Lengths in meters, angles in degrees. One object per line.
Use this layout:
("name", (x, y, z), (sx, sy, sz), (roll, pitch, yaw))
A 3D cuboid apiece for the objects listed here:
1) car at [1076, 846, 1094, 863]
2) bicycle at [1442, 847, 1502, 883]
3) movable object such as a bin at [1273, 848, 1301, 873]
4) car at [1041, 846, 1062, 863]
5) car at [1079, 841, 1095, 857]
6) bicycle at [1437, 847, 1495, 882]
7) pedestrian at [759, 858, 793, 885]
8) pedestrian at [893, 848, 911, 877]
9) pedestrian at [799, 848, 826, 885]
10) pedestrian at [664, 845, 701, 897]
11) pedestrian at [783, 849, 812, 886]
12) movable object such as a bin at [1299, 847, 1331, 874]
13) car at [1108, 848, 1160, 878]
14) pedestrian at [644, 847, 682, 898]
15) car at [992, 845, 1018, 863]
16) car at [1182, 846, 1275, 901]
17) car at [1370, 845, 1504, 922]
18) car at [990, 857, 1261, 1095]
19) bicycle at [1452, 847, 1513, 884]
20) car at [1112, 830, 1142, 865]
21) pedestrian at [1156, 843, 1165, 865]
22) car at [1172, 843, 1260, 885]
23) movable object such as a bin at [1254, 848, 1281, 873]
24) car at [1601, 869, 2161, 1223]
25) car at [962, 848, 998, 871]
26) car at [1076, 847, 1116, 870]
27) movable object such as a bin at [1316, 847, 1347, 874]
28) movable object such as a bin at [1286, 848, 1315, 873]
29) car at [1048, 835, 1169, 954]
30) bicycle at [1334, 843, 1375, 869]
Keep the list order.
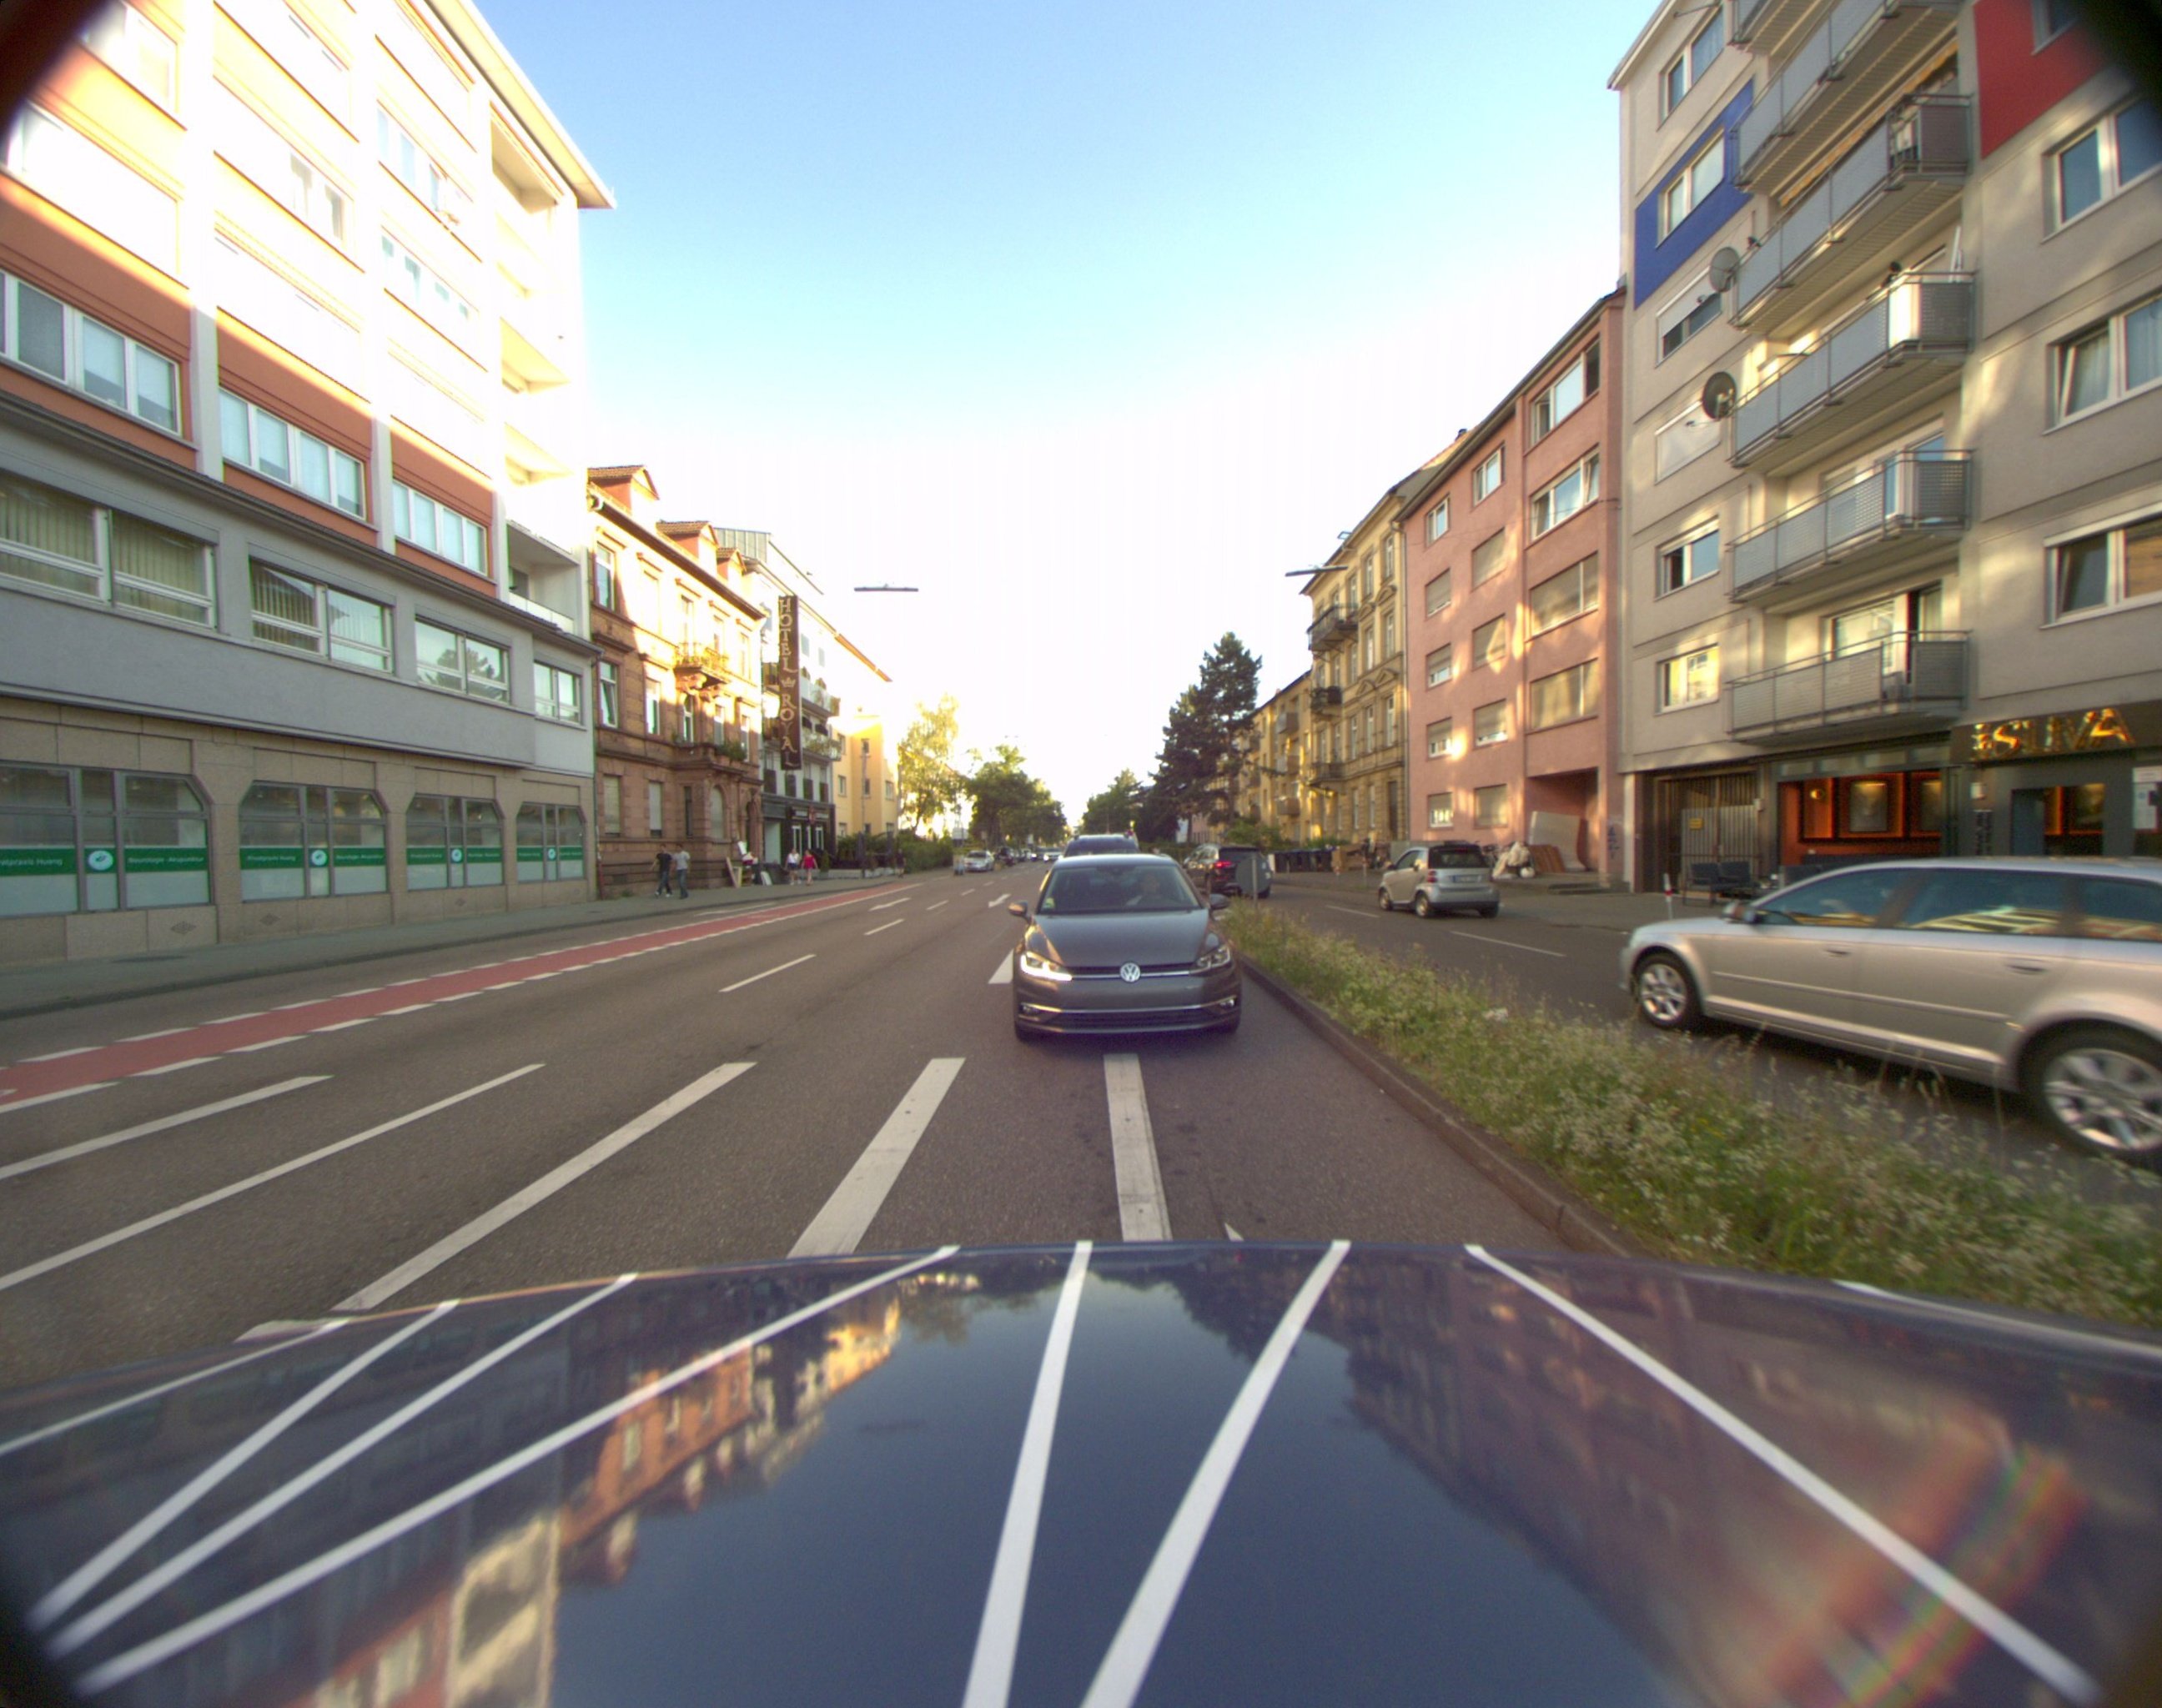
("car", (0.351, 0.056, 72.186), (1.596, 1.533, 3.403), (0, 1, -2))
("bicycle", (13.265, 0.367, 25.792), (1.780, 1.184, 0.473), (-1, 1, -2))
("movable object such as a bin", (10.467, 0.314, 38.599), (1.196, 1.226, 0.847), (-2, 1, -39))
("car", (-2.876, -0.002, 75.471), (1.907, 1.532, 3.999), (-1, 1, 0))
("car", (0.704, -0.643, 93.930), (1.895, 1.843, 4.700), (0, 1, 1))
("bicycle", (13.348, 0.353, 26.371), (1.780, 1.184, 0.473), (-1, 1, -2))
("pedestrian", (-13.597, 0.764, 33.916), (1.100, 1.129, 0.924), (-1, 1, -2))
("pedestrian", (-10.176, 0.479, 43.178), (0.738, 1.593, 1.010), (2, 1, -2))
("pedestrian", (-11.921, 0.551, 33.775), (0.738, 1.579, 1.011), (3, 2, 5))
("pedestrian", (-13.546, 0.573, 25.832), (0.668, 1.716, 1.011), (-1, 1, 1))
("pedestrian", (-12.622, 0.569, 33.855), (0.786, 1.579, 1.011), (3, 2, 5))
("movable object such as a bin", (11.382, 0.305, 36.997), (1.295, 1.226, 0.926), (-2, 1, -39))
("car", (2.659, 0.442, 39.108), (1.598, 1.463, 3.980), (0, 0, -12))
("pedestrian", (-14.257, 0.613, 25.944), (0.668, 1.716, 1.011), (-1, 1, 1))
("car", (-6.922, -0.030, 69.873), (1.947, 1.616, 4.193), (-1, 1, 0))
("car", (4.390, 0.532, 23.256), (1.680, 1.535, 4.099), (0, 0, -6))
("car", (7.808, 0.594, 16.911), (1.539, 1.584, 2.807), (0, 1, -3))
("car", (0.338, 0.840, 7.265), (1.770, 1.450, 4.269), (-2, 1, 1))
("bicycle", (13.241, 0.374, 25.059), (1.780, 1.184, 0.473), (-1, 1, -2))
("car", (3.707, -0.531, 62.257), (2.136, 2.741, 4.465), (0, 1, 0))
("pedestrian", (5.894, 0.010, 56.326), (0.577, 1.591, 0.481), (-1, 1, 1))
("car", (5.528, 0.382, 31.628), (1.727, 1.619, 4.094), (0, 1, -21))
("movable object such as a bin", (9.605, 0.340, 39.097), (0.847, 1.226, 1.196), (0, 2, 42))
("car", (5.440, 0.858, 4.606), (1.713, 1.417, 4.101), (0, 0, -1))
("car", (-7.144, 0.376, 54.084), (1.905, 1.509, 4.074), (-1, 1, 1))
("car", (0.947, 0.291, 50.741), (1.759, 1.479, 4.243), (0, 0, -12))
("movable object such as a bin", (11.952, 0.298, 36.250), (1.196, 1.226, 0.847), (-2, 1, -39))
("movable object such as a bin", (10.954, 0.307, 37.860), (1.196, 1.226, 0.847), (-2, 1, -39))
("car", (0.430, 0.602, 14.086), (1.895, 1.843, 4.465), (0, 1, 0))
("bicycle", (12.867, 0.092, 35.759), (1.780, 1.184, 0.473), (-1, 1, -2))
